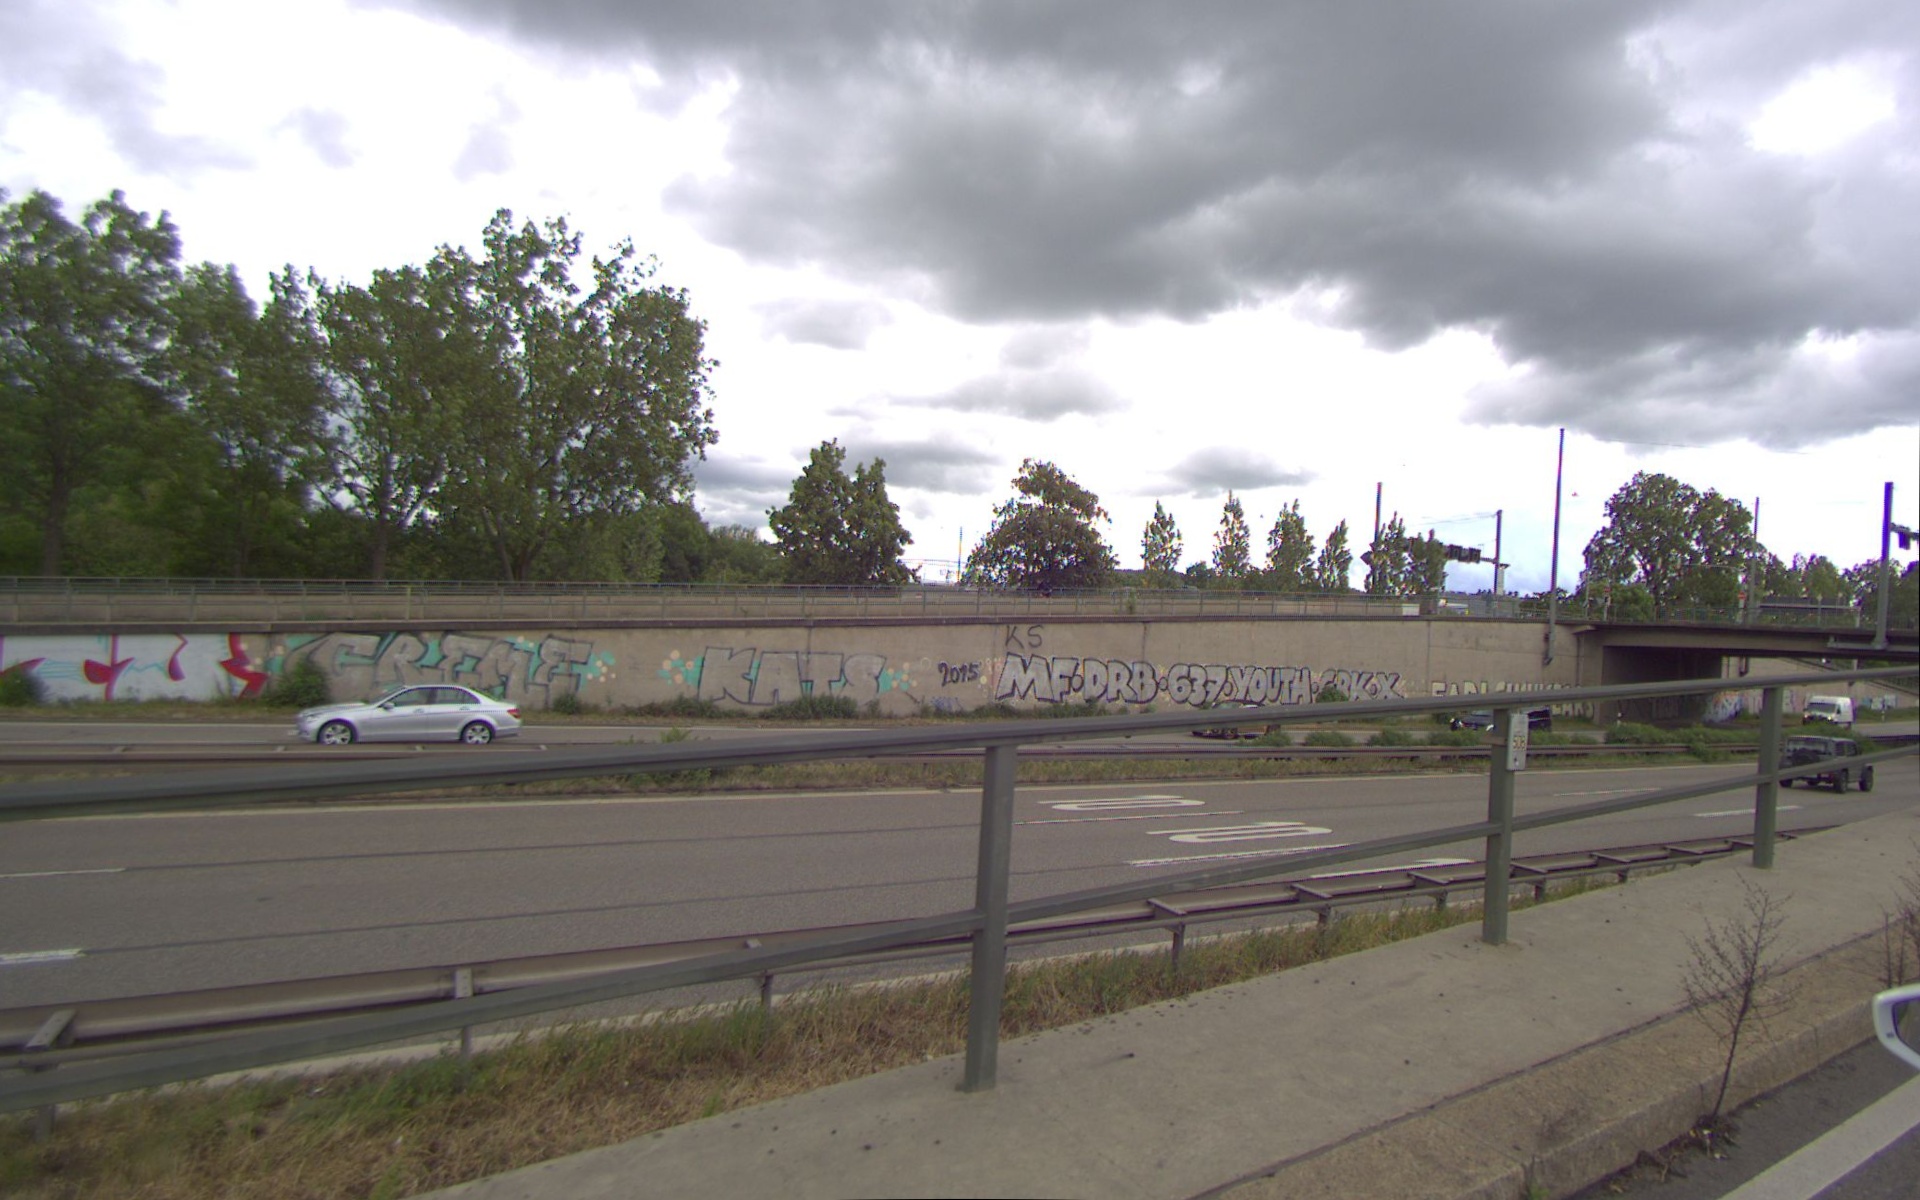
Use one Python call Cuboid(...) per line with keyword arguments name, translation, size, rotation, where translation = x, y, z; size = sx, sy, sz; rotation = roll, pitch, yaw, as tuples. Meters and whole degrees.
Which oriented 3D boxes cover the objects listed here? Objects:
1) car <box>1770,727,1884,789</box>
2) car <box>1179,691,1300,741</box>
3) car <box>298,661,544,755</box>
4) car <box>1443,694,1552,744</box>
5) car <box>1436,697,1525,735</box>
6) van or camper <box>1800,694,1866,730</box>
Cuboid(name="car", translation=(28.320, 5.099, 32.801), size=(3.953, 1.758, 1.672), rotation=(4, -3, -31))
Cuboid(name="car", translation=(11.166, 4.608, 40.042), size=(4.652, 1.742, 1.983), rotation=(4, -3, -32))
Cuboid(name="car", translation=(-12.292, 2.502, 23.128), size=(4.653, 1.713, 1.984), rotation=(8, -5, -31))
Cuboid(name="car", translation=(24.182, 5.335, 45.130), size=(5.062, 2.014, 2.080), rotation=(5, -3, -33))
Cuboid(name="car", translation=(26.411, 5.870, 50.900), size=(4.655, 1.714, 1.982), rotation=(5, -3, -34))
Cuboid(name="van or camper", translation=(68.278, 8.751, 78.563), size=(6.281, 2.489, 2.170), rotation=(5, -1, -33))
